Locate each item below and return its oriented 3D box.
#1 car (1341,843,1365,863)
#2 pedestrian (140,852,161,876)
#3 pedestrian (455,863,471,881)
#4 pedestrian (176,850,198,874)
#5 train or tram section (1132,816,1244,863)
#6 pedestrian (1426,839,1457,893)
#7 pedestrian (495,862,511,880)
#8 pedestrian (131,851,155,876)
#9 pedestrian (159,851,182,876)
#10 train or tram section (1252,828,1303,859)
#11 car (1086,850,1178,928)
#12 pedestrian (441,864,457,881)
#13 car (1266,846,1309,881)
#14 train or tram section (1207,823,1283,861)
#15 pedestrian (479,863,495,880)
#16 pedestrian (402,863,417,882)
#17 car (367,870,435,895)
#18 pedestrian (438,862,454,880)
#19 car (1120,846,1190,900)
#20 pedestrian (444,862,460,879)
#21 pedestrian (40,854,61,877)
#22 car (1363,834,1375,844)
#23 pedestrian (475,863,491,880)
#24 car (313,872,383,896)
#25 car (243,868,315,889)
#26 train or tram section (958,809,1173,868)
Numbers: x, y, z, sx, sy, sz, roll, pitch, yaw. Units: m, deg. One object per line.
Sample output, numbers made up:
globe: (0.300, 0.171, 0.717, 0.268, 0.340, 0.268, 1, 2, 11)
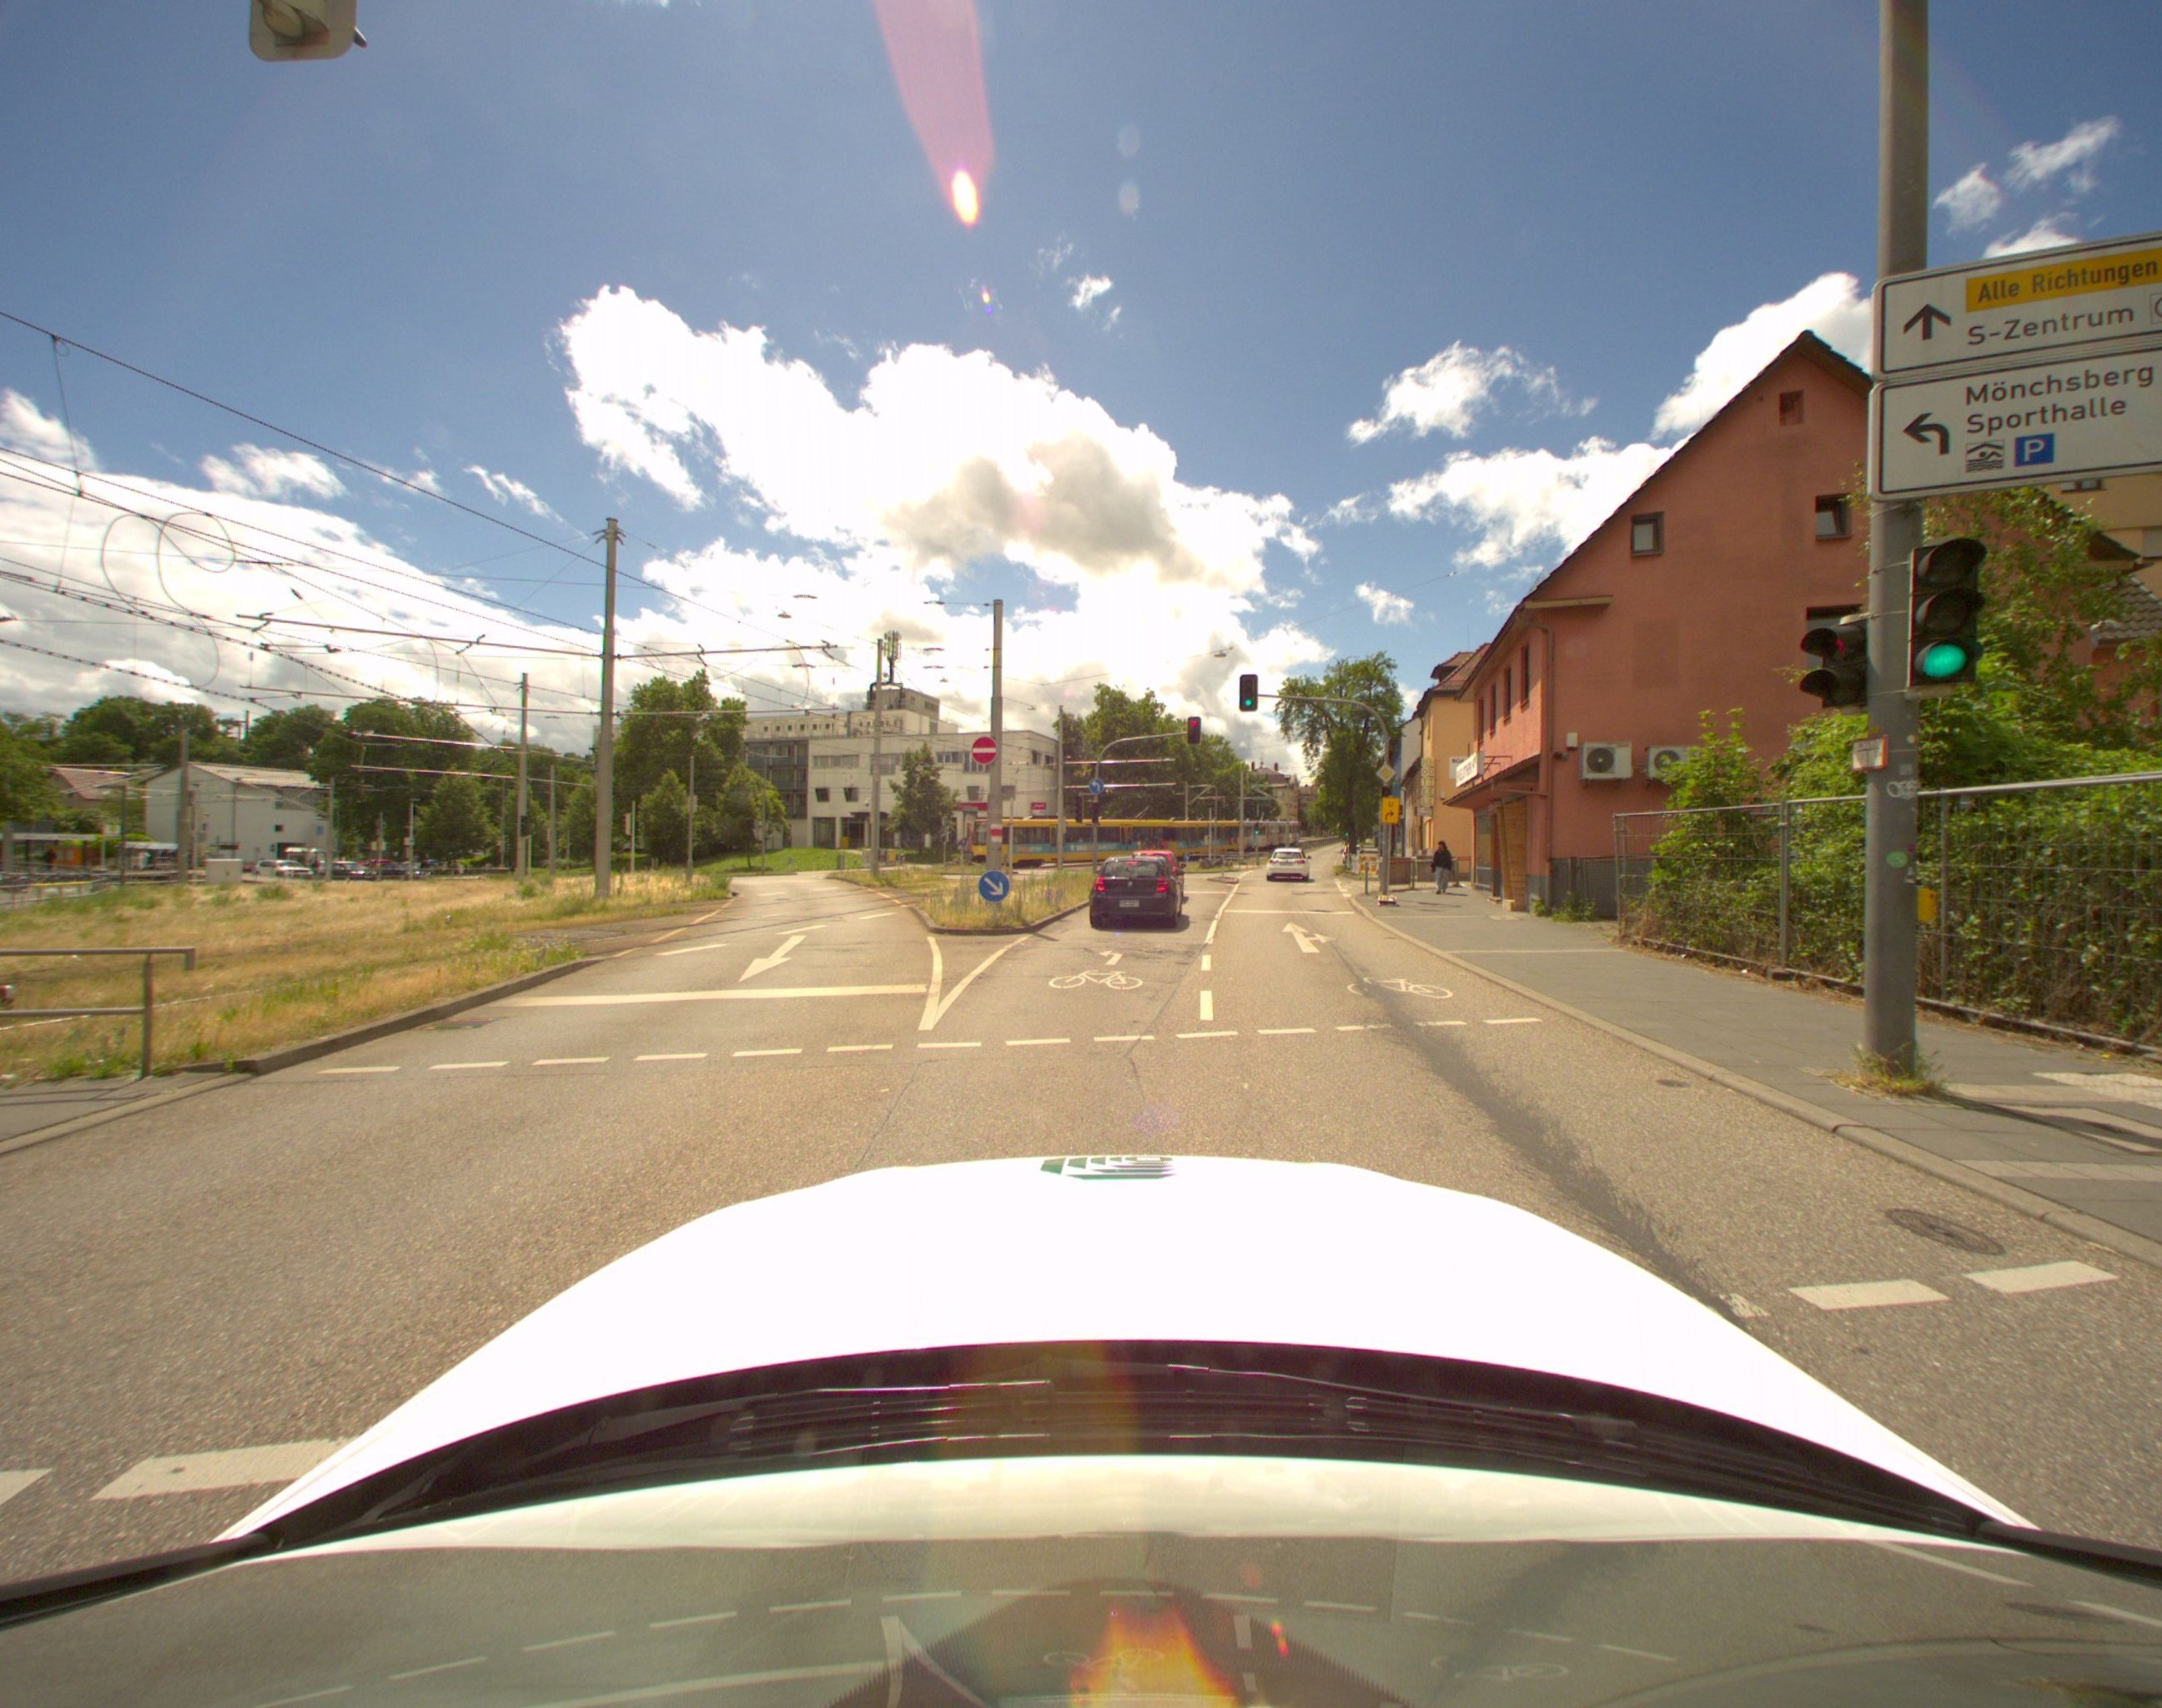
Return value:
car: (22.161, -0.063, 66.362, 1.772, 1.596, 4.019, -1, -1, 19)
pedestrian: (-66.486, 0.717, 58.205, 0.666, 1.684, 0.760, -1, 0, 19)
pedestrian: (-57.696, 1.672, 75.978, 0.808, 1.576, 0.844, -1, 0, 10)
pedestrian: (-63.403, 0.549, 57.753, 0.611, 1.691, 0.842, -1, 0, 20)
train or tram section: (10.710, -1.171, 77.242, 3.714, 3.829, 20.270, -1, -1, 28)
pedestrian: (11.112, 0.356, 25.106, 0.758, 1.642, 0.781, -1, 1, 17)
pedestrian: (-52.627, 1.523, 74.108, 0.808, 1.576, 0.844, -1, 0, 11)
pedestrian: (-66.143, 0.668, 57.440, 0.789, 1.753, 0.842, -1, 0, 19)
pedestrian: (-64.872, 0.660, 58.021, 0.789, 1.732, 0.842, -1, 0, 19)
train or tram section: (27.642, -1.275, 113.218, 3.716, 3.814, 20.159, -1, -1, 23)
car: (1.084, 0.678, 17.317, 1.694, 1.452, 4.003, -1, -1, 3)
pedestrian: (-58.232, 1.682, 75.007, 0.808, 1.576, 0.844, -1, 0, 10)
car: (9.453, 0.398, 37.312, 1.802, 1.468, 4.016, -1, 1, 14)
train or tram section: (19.586, -1.214, 95.106, 3.715, 3.879, 20.754, -1, -1, 25)
pedestrian: (-54.668, 1.619, 74.927, 0.808, 1.576, 0.844, -1, 0, 11)
pedestrian: (-65.019, 1.784, 78.879, 0.811, 1.866, 0.836, -1, 0, 19)
car: (-52.722, 2.224, 63.192, 4.193, 1.791, 2.032, -1, -1, 16)
pedestrian: (-59.598, 1.591, 76.480, 0.808, 1.576, 0.844, -1, 0, 11)
car: (2.318, 0.544, 24.620, 1.614, 1.473, 4.013, -1, -1, 12)
pedestrian: (-59.481, 1.601, 76.967, 0.808, 1.576, 0.844, -1, 0, 11)
pedestrian: (-75.566, 0.825, 59.736, 0.666, 1.684, 0.760, -1, 0, 19)
car: (56.395, -2.943, 159.429, 2.105, 1.858, 3.756, 0, 1, 20)
pedestrian: (-55.572, 1.598, 75.707, 0.808, 1.576, 0.844, -1, 0, 11)
car: (-54.545, 2.234, 60.605, 4.208, 1.651, 1.927, -1, -1, 16)
car: (-61.137, 1.864, 62.101, 4.443, 1.555, 1.947, -1, -1, 16)
train or tram section: (-0.474, -1.089, 62.347, 19.004, 3.919, 3.715, -1, -1, -44)
